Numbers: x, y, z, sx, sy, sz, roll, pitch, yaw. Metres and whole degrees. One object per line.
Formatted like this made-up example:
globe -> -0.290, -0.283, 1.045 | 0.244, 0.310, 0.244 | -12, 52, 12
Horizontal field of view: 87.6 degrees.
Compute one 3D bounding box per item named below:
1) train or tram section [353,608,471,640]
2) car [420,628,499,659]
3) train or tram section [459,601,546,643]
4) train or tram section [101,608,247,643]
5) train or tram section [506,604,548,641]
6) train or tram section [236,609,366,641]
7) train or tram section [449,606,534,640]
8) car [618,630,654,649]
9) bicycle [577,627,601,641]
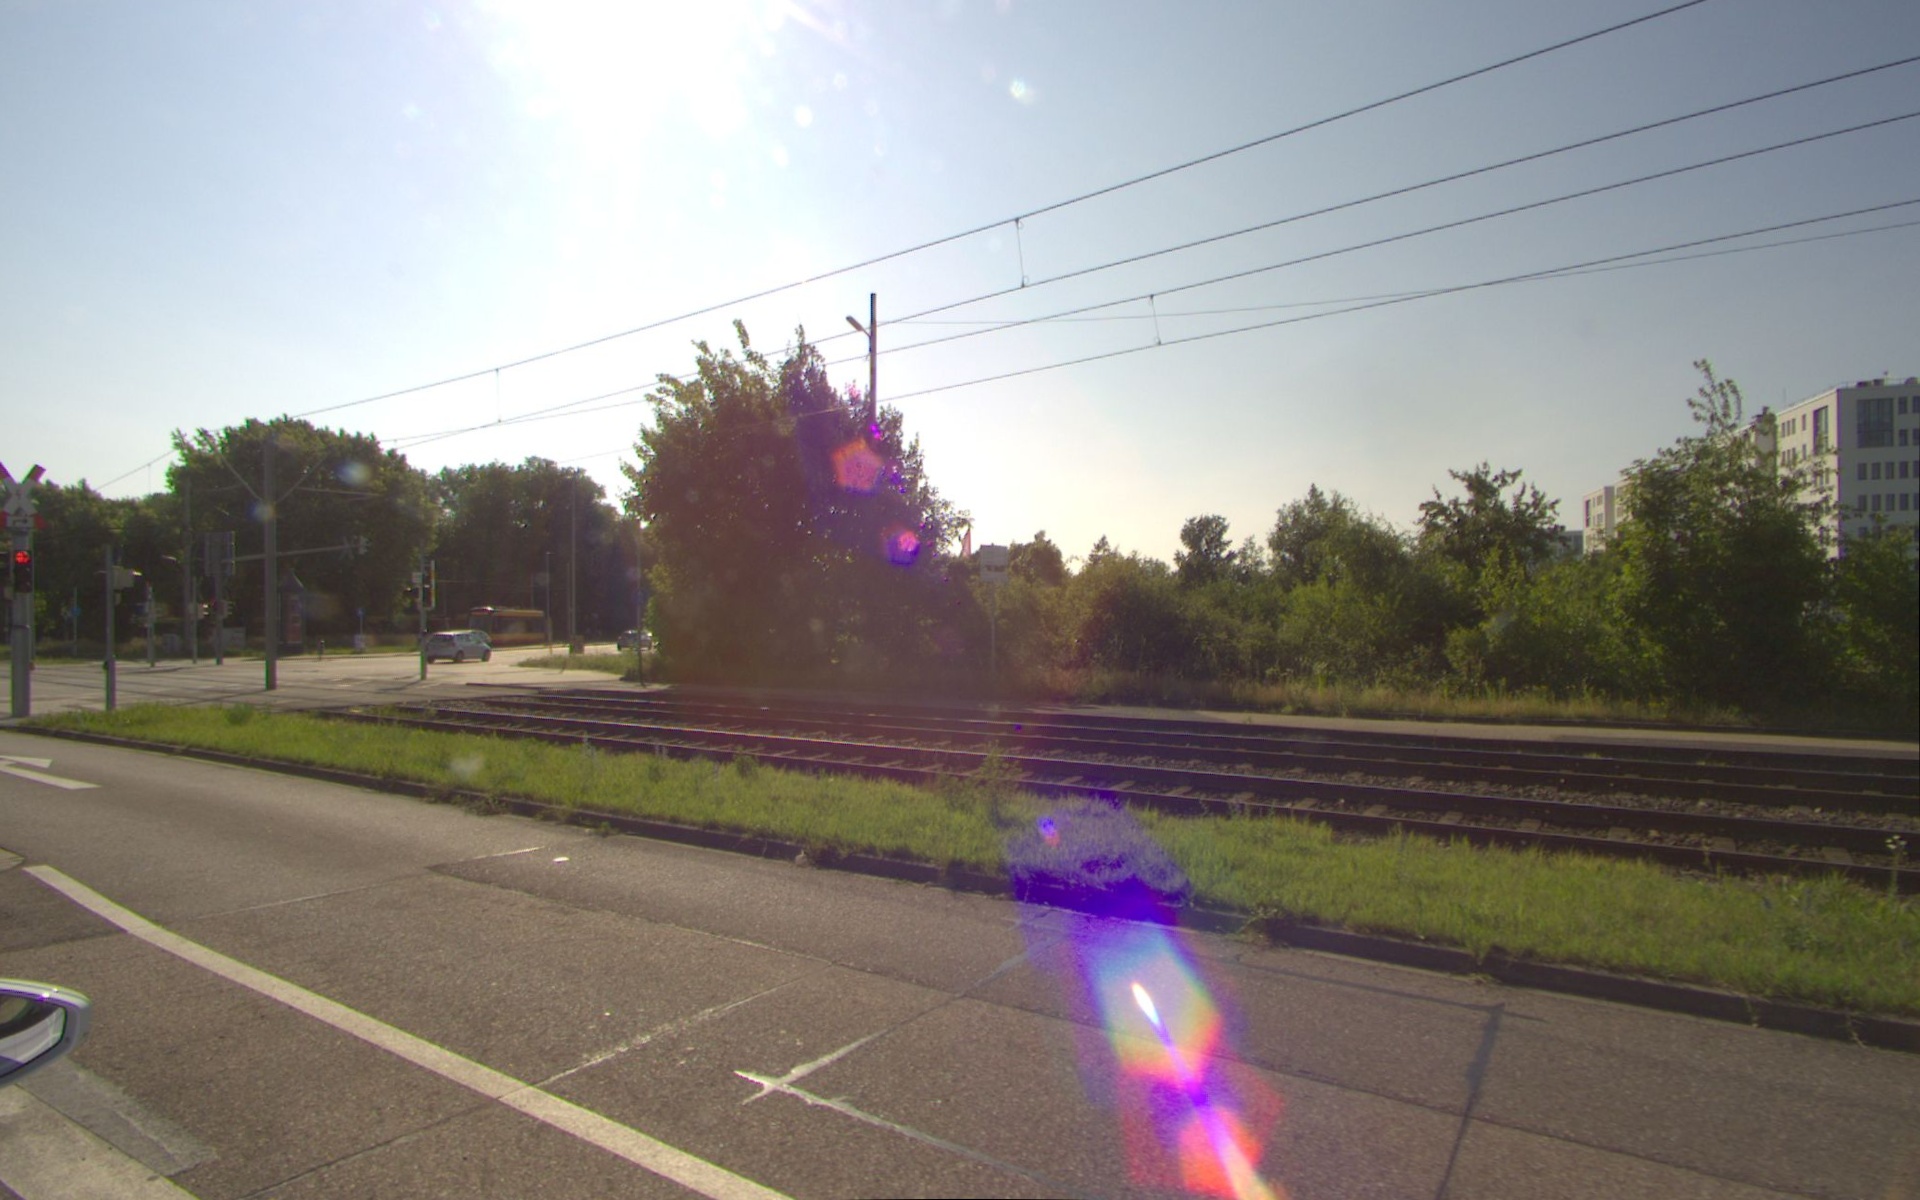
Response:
train or tram section -> -63.715, 2.810, 116.537 | 11.992, 3.626, 3.055 | 0, -1, -1
car -> -26.503, 2.276, 53.161 | 1.820, 1.583, 4.205 | 0, -1, 5
train or tram section -> -41.840, 2.045, 92.174 | 2.994, 3.625, 11.854 | 0, -1, -2
train or tram section -> -86.241, 2.774, 110.304 | 12.247, 3.626, 3.042 | 0, -1, -26
train or tram section -> -44.963, 2.383, 103.775 | 3.008, 3.625, 12.177 | 0, -1, -28
train or tram section -> -75.440, 2.842, 115.030 | 12.026, 3.626, 3.046 | 0, -1, -21
train or tram section -> -52.801, 2.591, 112.670 | 12.063, 3.626, 3.037 | -1, -1, 34
car -> -24.957, 3.045, 77.182 | 1.575, 1.401, 3.531 | 0, -1, 2
bicycle -> -44.377, 4.085, 119.770 | 2.562, 1.735, 0.795 | 0, -1, -3
